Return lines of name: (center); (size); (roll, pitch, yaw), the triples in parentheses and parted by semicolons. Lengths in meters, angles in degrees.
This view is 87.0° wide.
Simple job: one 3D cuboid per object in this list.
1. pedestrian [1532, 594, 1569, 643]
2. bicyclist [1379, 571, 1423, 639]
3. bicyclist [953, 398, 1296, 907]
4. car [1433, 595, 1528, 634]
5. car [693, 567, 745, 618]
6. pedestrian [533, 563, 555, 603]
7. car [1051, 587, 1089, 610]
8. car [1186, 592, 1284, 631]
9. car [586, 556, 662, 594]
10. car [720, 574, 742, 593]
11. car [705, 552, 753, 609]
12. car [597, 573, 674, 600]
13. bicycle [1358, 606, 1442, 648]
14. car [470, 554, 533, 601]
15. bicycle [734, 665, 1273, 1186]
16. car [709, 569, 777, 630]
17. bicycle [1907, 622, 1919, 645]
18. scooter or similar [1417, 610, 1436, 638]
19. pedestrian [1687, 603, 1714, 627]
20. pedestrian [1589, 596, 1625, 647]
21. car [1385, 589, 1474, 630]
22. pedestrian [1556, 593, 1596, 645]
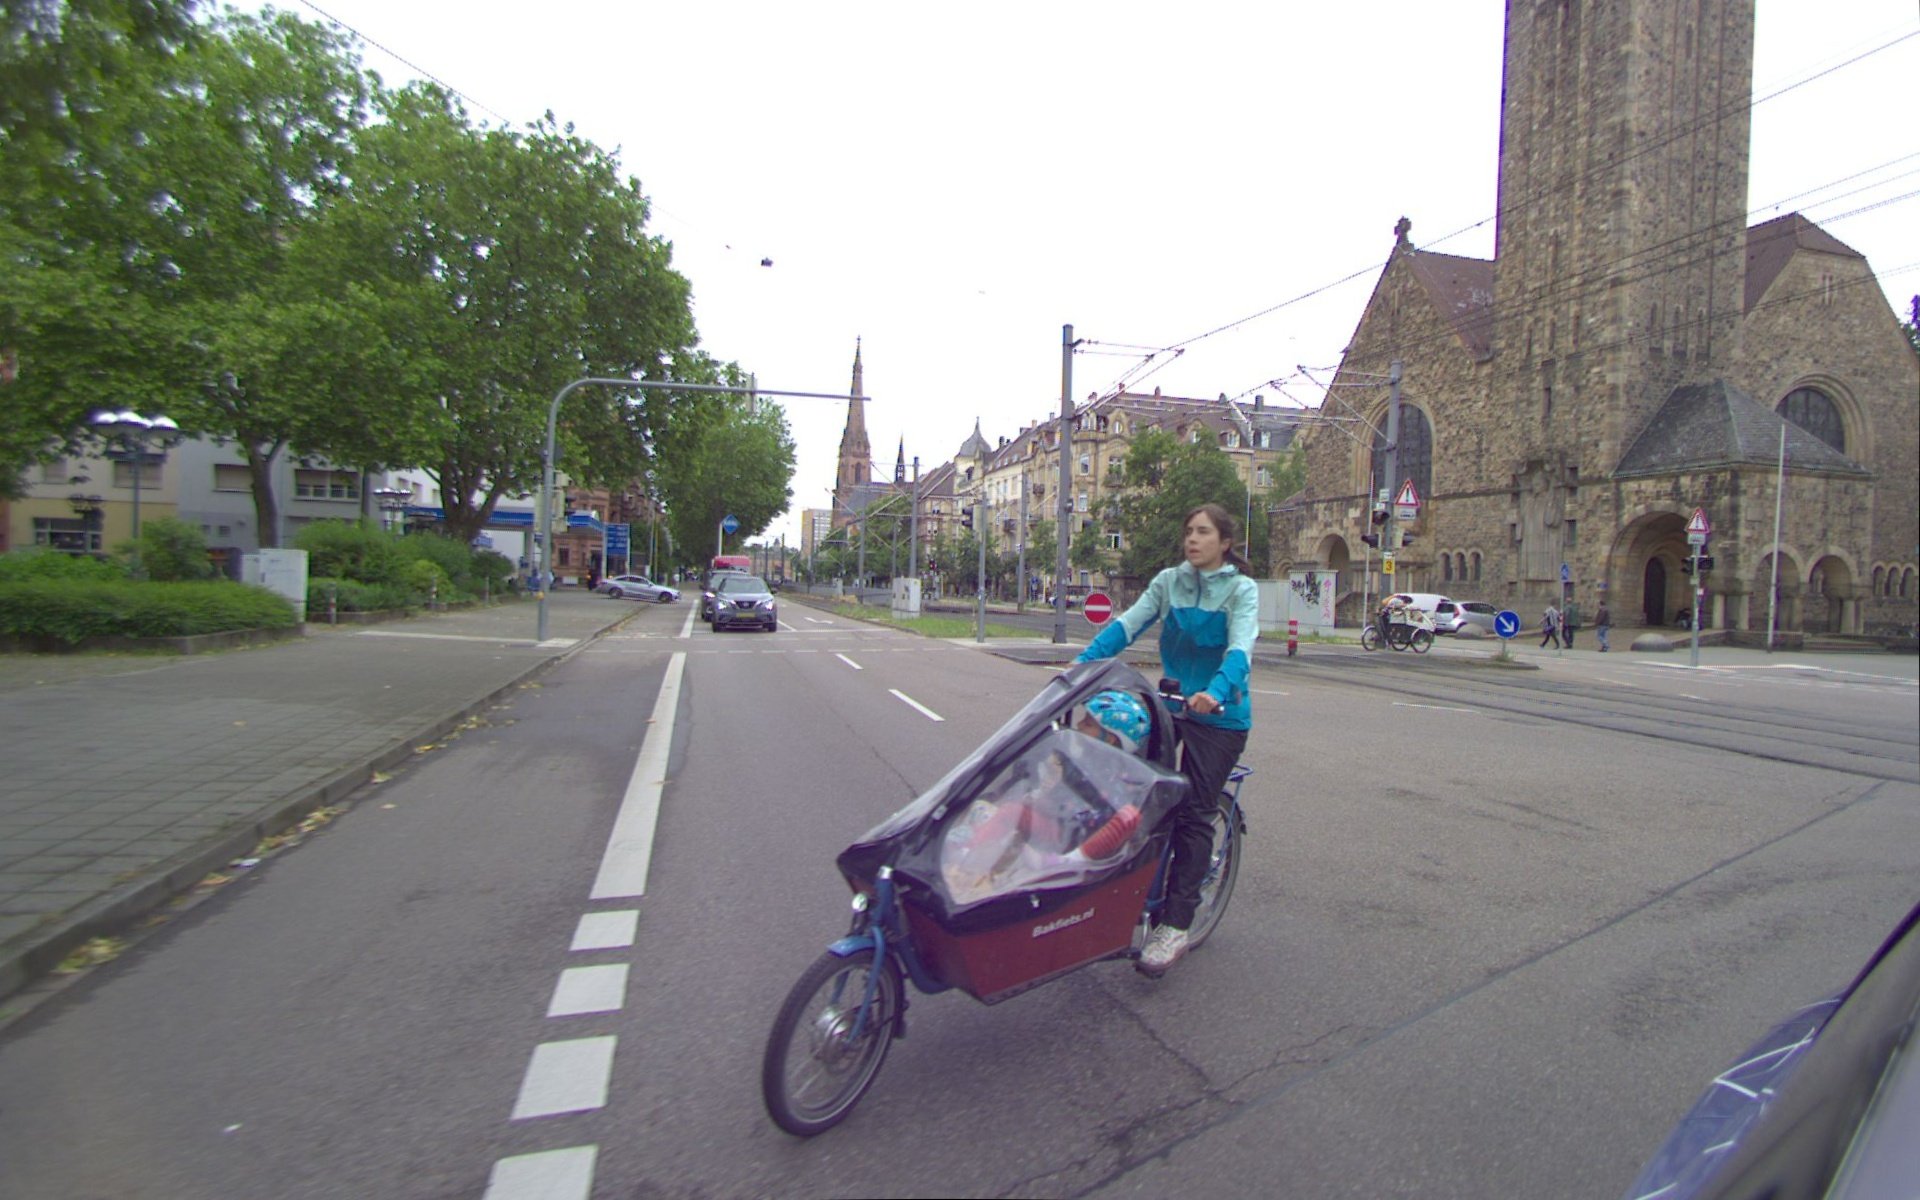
pedestrian: (20.942, 0.654, 35.896); (0.950, 1.693, 0.635); (2, 2, -32)
bicyclist: (11.126, 0.112, 25.535); (0.738, 1.674, 0.617); (2, 1, -17)
bicyclist: (0.611, 0.153, 3.660); (1.040, 1.536, 0.687); (2, 1, -43)
car: (22.757, 0.641, 44.284); (3.395, 1.549, 1.622); (1, 1, -12)
car: (-8.898, -0.333, 37.182); (1.651, 1.732, 3.959); (1, 1, -15)
pedestrian: (-16.559, -0.681, 40.279); (0.695, 1.590, 0.573); (2, 0, -15)
car: (8.281, -0.139, 76.619); (1.651, 1.549, 3.475); (1, 1, -15)
car: (11.648, 0.468, 43.118); (1.783, 1.423, 4.330); (2, 1, -21)
car: (-26.116, -1.904, 78.978); (2.213, 2.762, 7.079); (1, 1, 13)
car: (-19.885, -1.452, 87.747); (1.651, 1.549, 3.475); (1, 1, -15)
car: (-11.255, -0.985, 49.123); (1.950, 2.570, 5.624); (1, 1, -15)
car: (-18.263, -0.777, 57.130); (4.011, 1.390, 1.739); (1, 1, -14)
bicycle: (11.106, 0.680, 25.544); (2.017, 1.008, 0.554); (2, 1, -16)
car: (-22.114, -1.099, 48.959); (1.950, 2.122, 5.100); (1, 1, -15)
bicycle: (0.294, 0.854, 3.383); (0.494, 1.112, 2.104); (3, 2, 45)
car: (-6.334, -0.064, 29.264); (1.651, 1.581, 3.999); (1, 1, -15)
bicycle: (45.312, 1.587, 47.395); (0.304, 1.073, 1.387); (2, 1, -16)
scooter or similar: (18.360, 0.946, 39.821); (0.235, 1.066, 0.775); (2, 1, -13)
pedestrian: (31.457, 0.630, 43.008); (0.602, 0.963, 0.675); (2, 1, -16)
pedestrian: (22.241, 0.740, 34.789); (0.951, 1.706, 0.676); (2, 3, -39)
car: (22.098, 0.434, 47.647); (3.395, 1.815, 1.691); (1, 1, -12)
pedestrian: (21.986, 0.683, 36.121); (0.951, 1.780, 0.806); (2, 3, -39)
